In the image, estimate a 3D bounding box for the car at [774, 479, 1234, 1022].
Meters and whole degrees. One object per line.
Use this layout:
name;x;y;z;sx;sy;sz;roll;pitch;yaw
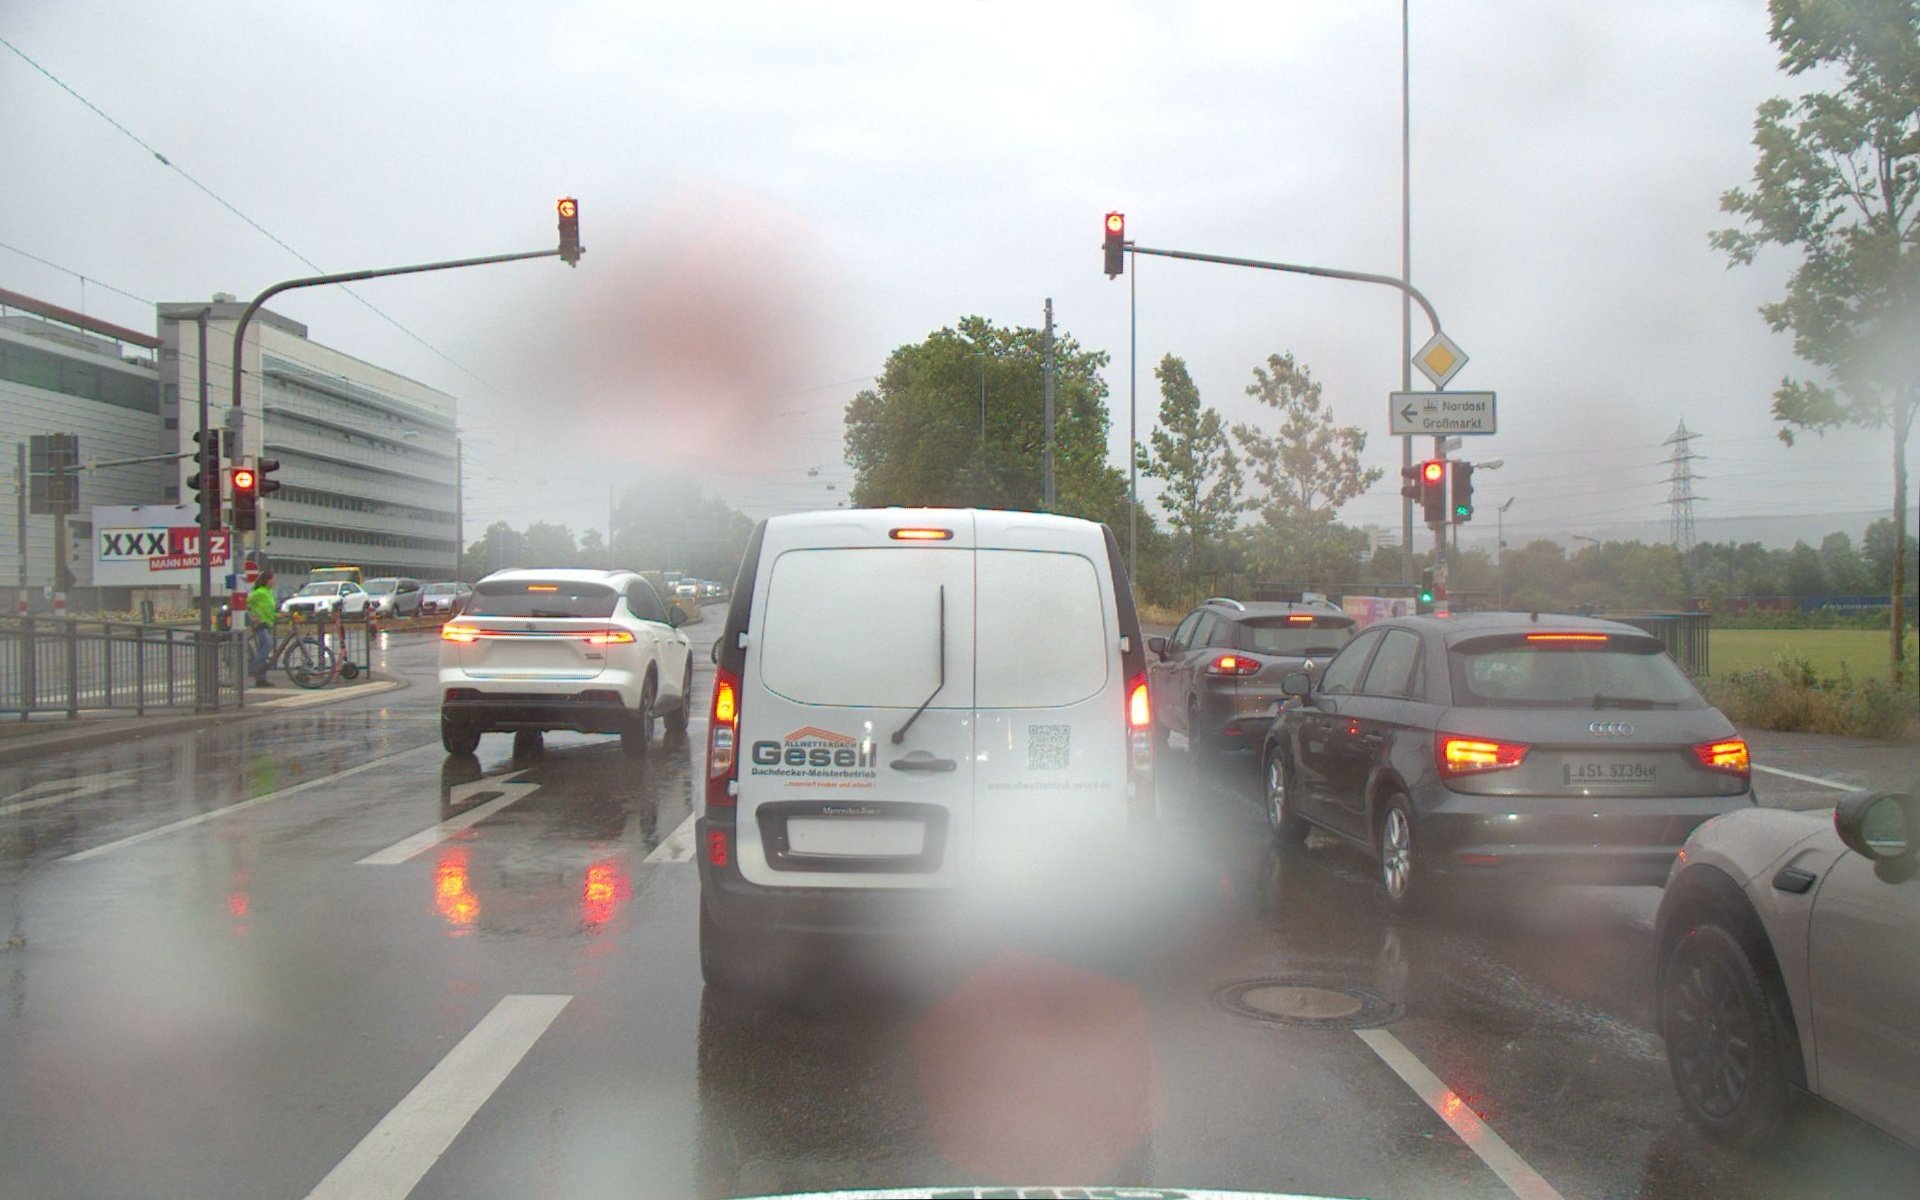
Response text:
car;0.124;0.512;7.569;1.534;1.819;3.999;0;0;-1

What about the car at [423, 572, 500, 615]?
car;-21.067;-0.255;70.033;1.853;1.729;4.001;1;0;3

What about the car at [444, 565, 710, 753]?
car;-3.559;0.478;16.111;1.694;1.562;4.296;1;1;-2

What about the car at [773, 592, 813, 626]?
car;-7.929;0.427;78.397;1.585;1.530;3.706;1;0;-10

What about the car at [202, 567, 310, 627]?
car;-25.305;-0.103;59.593;1.952;2.049;4.002;1;0;3

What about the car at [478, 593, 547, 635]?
car;-20.817;0.646;77.101;1.889;1.859;4.002;1;0;4

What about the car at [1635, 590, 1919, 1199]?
car;2.950;0.761;3.230;1.679;1.534;3.622;1;0;-2

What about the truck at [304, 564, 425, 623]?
truck;-25.019;-0.235;69.887;2.303;2.319;7.632;1;0;0

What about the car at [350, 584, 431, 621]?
car;-21.616;0.112;62.912;1.554;1.359;3.832;1;-1;4

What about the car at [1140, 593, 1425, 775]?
car;2.876;0.689;15.582;1.822;1.453;3.806;1;1;-2

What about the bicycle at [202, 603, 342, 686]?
bicycle;-9.639;0.620;23.206;1.716;1.052;0.414;4;-1;-3

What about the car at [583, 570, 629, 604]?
car;-22.156;-0.793;103.700;1.952;2.049;4.000;1;0;1

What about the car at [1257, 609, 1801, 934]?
car;2.789;0.753;8.955;1.596;1.368;3.622;1;0;-2

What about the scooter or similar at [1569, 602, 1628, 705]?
scooter or similar;7.566;0.616;19.622;0.240;1.178;1.186;1;0;1

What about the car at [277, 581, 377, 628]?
car;-21.682;0.154;56.791;1.662;1.518;3.878;1;0;5
